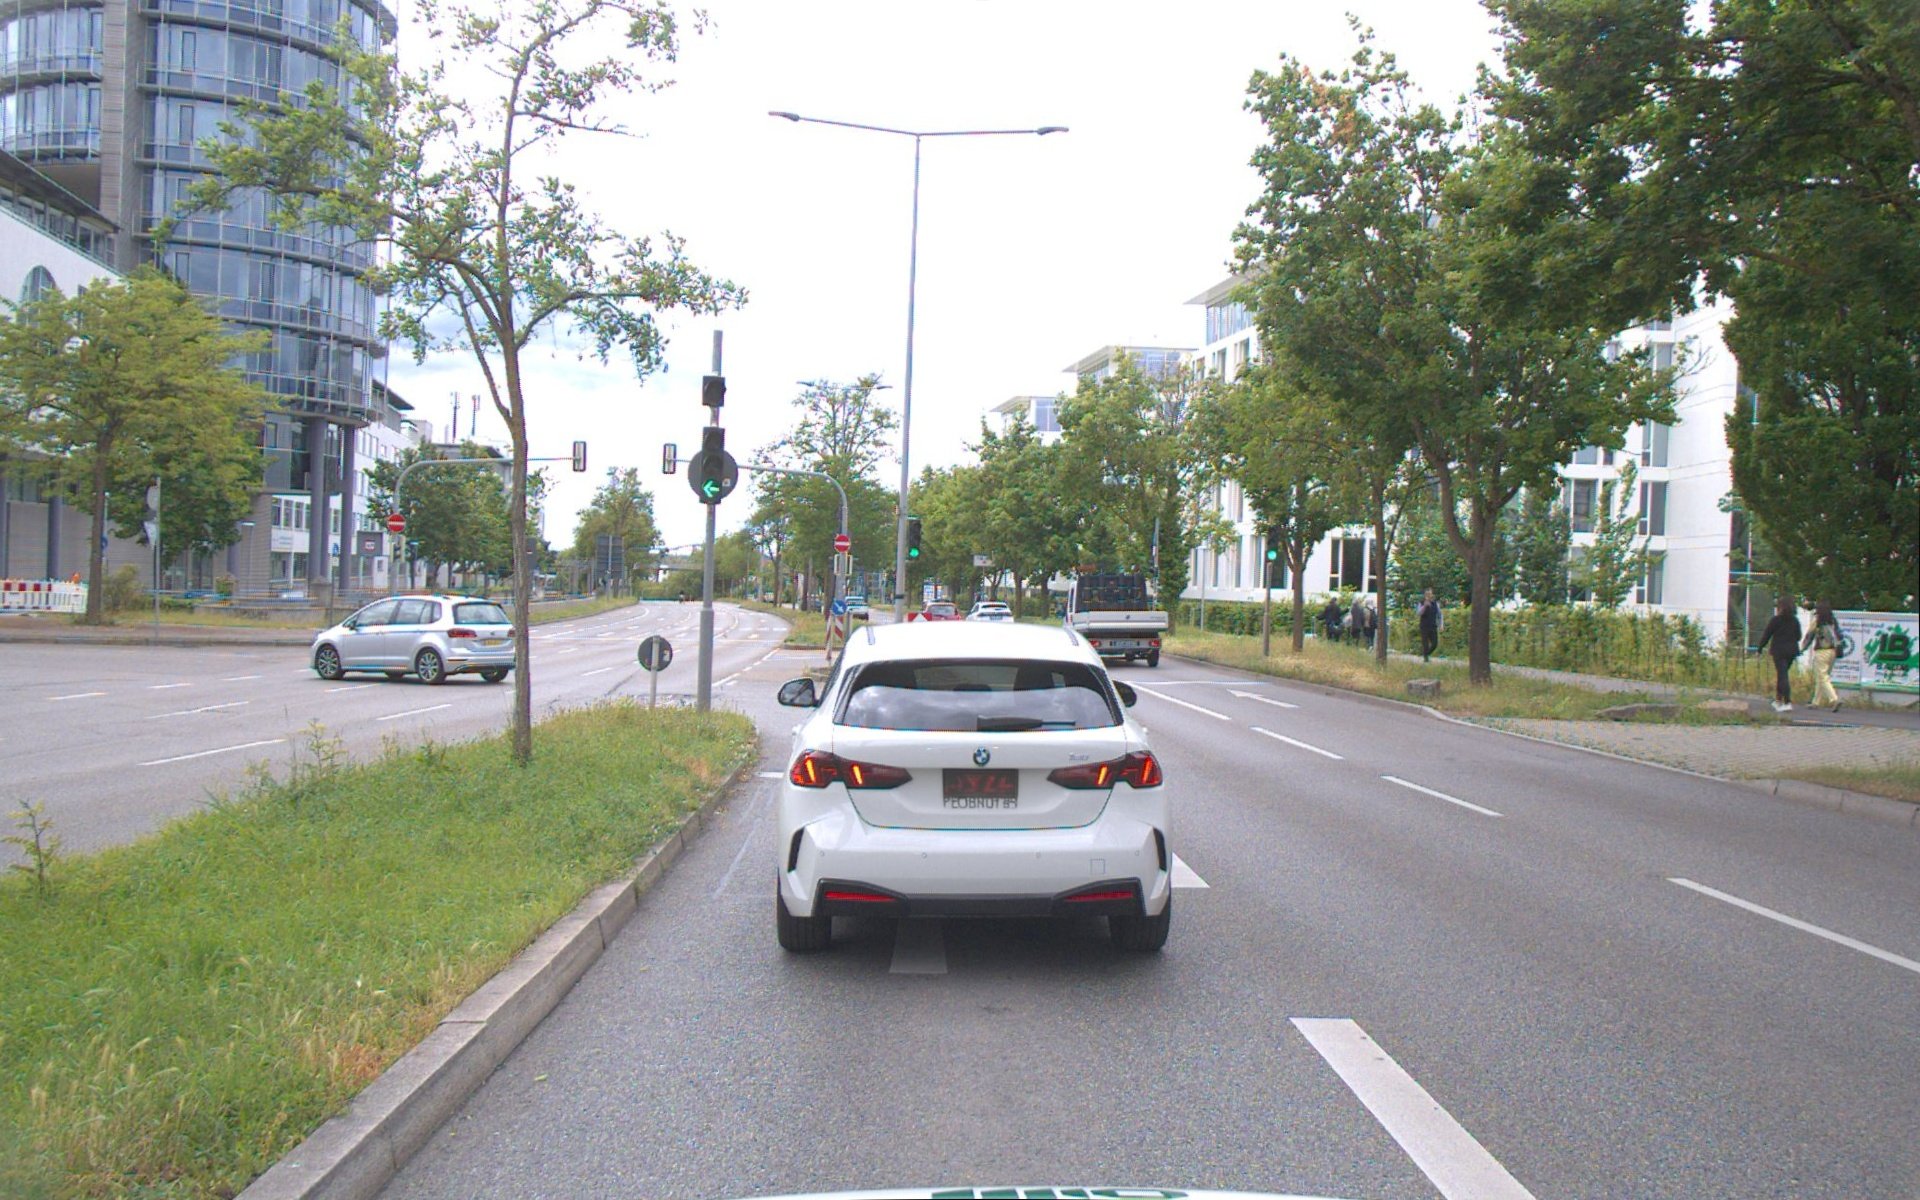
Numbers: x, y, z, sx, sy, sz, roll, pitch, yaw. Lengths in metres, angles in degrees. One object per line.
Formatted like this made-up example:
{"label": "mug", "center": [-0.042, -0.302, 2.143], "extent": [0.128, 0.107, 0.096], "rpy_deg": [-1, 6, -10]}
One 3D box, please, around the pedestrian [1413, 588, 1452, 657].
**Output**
{"label": "pedestrian", "center": [11.180, 0.531, 39.145], "extent": [0.726, 1.602, 0.674], "rpy_deg": [1, -1, -2]}

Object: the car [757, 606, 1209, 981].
{"label": "car", "center": [0.076, 0.790, 8.656], "extent": [1.785, 1.463, 3.999], "rpy_deg": [1, 0, -1]}

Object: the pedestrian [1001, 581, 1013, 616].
{"label": "pedestrian", "center": [3.620, -0.098, 127.962], "extent": [0.814, 2.673, 0.646], "rpy_deg": [1, -1, -1]}

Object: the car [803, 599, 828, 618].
{"label": "car", "center": [-12.618, 0.755, 144.473], "extent": [1.856, 1.624, 4.305], "rpy_deg": [1, 0, -8]}

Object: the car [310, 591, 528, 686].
{"label": "car", "center": [-9.991, 0.683, 30.498], "extent": [3.911, 1.596, 1.552], "rpy_deg": [1, 0, 29]}

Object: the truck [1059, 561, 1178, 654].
{"label": "truck", "center": [4.033, 0.195, 43.123], "extent": [2.167, 2.242, 5.840], "rpy_deg": [1, 0, -4]}

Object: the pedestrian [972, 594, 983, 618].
{"label": "pedestrian", "center": [1.507, 0.522, 142.111], "extent": [0.749, 2.049, 0.751], "rpy_deg": [1, -1, -15]}

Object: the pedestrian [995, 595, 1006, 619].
{"label": "pedestrian", "center": [3.489, 0.573, 143.408], "extent": [0.749, 2.049, 0.751], "rpy_deg": [1, -1, -15]}

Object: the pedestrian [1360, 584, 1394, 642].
{"label": "pedestrian", "center": [12.491, 0.402, 49.582], "extent": [0.751, 1.715, 0.883], "rpy_deg": [1, -1, -2]}

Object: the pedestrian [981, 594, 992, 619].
{"label": "pedestrian", "center": [2.299, 0.561, 142.172], "extent": [0.749, 2.049, 0.751], "rpy_deg": [1, -1, -15]}

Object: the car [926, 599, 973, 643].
{"label": "car", "center": [-0.408, 0.777, 61.940], "extent": [1.681, 1.585, 3.857], "rpy_deg": [0, 0, -1]}

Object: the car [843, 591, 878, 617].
{"label": "car", "center": [-6.447, 0.258, 106.810], "extent": [1.820, 1.624, 4.304], "rpy_deg": [0, 0, -9]}

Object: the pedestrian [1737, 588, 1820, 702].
{"label": "pedestrian", "center": [12.593, 0.679, 25.471], "extent": [0.779, 1.689, 1.060], "rpy_deg": [1, 0, 5]}

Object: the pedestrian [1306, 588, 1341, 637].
{"label": "pedestrian", "center": [10.975, 0.381, 49.924], "extent": [0.773, 1.473, 1.111], "rpy_deg": [1, -1, -2]}

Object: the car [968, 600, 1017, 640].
{"label": "car", "center": [1.325, 0.831, 69.243], "extent": [1.682, 1.583, 4.086], "rpy_deg": [1, 0, -4]}

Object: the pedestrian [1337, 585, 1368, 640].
{"label": "pedestrian", "center": [11.739, 0.389, 49.532], "extent": [0.685, 1.623, 0.883], "rpy_deg": [1, -1, -2]}

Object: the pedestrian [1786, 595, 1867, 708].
{"label": "pedestrian", "center": [13.328, 0.775, 25.462], "extent": [0.762, 1.689, 0.952], "rpy_deg": [1, 0, 5]}
